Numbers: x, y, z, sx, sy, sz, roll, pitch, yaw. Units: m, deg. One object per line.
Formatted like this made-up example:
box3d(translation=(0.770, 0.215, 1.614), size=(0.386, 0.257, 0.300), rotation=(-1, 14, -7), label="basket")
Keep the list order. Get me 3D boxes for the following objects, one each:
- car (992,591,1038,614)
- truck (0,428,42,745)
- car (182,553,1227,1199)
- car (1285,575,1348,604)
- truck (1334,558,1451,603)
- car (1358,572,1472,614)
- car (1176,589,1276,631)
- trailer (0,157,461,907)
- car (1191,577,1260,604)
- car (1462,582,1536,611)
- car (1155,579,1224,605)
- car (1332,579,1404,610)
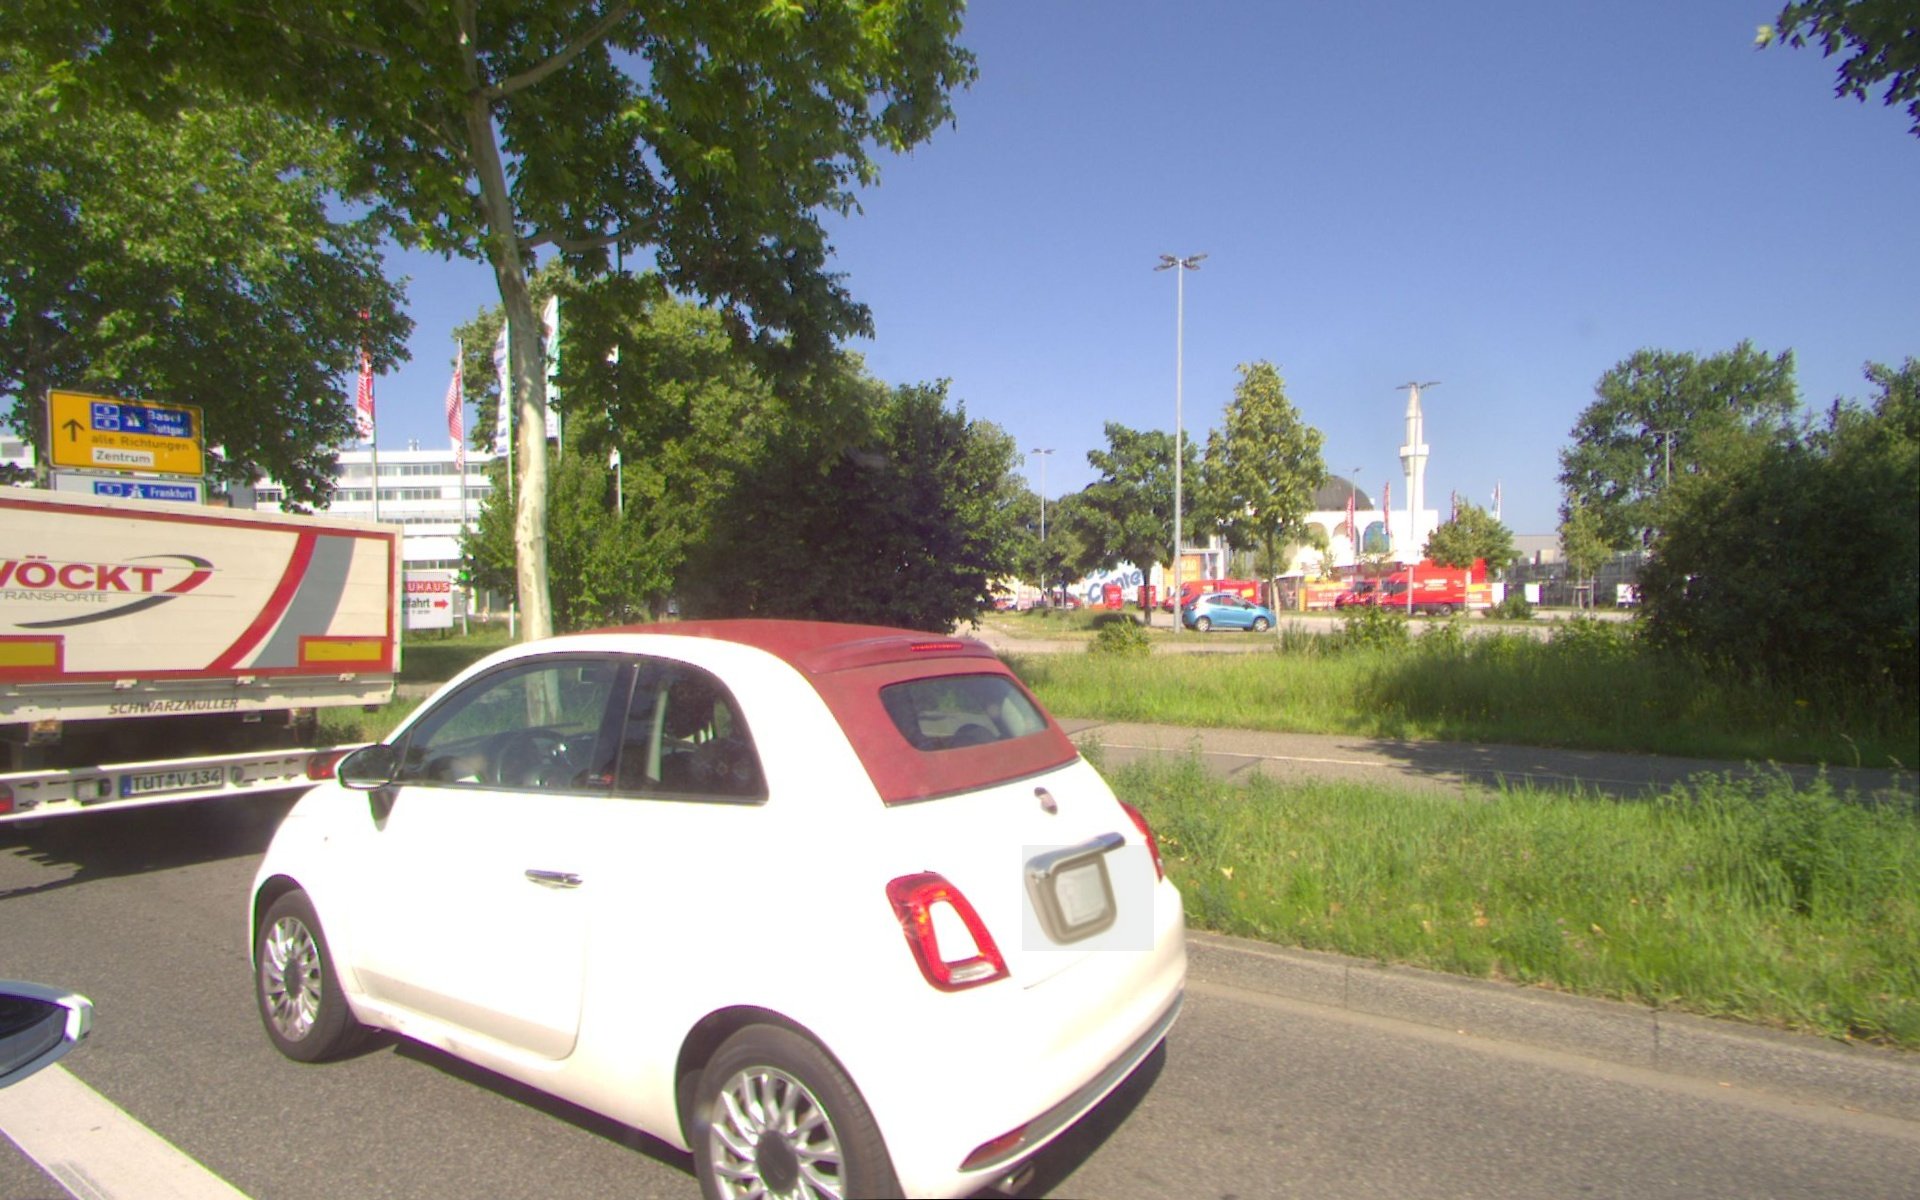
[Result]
box3d(translation=(4.987, 0.239, 91.300), size=(3.923, 2.039, 2.000), rotation=(0, -1, -6), label="car")
box3d(translation=(-15.243, -0.109, 13.027), size=(7.370, 3.806, 3.066), rotation=(-1, -1, 32), label="truck")
box3d(translation=(-1.044, 0.695, 3.477), size=(3.472, 1.455, 1.657), rotation=(-1, -1, 34), label="car")
box3d(translation=(26.190, -0.768, 73.630), size=(3.922, 2.039, 2.001), rotation=(0, -1, 2), label="car")
box3d(translation=(32.942, -1.455, 76.400), size=(8.067, 3.290, 2.000), rotation=(0, -1, -2), label="truck")
box3d(translation=(27.301, -0.398, 60.223), size=(5.823, 2.371, 2.115), rotation=(0, -1, 1), label="car")
box3d(translation=(10.297, 0.396, 38.874), size=(3.387, 1.591, 1.745), rotation=(0, -1, -2), label="car")
box3d(translation=(-9.381, -0.204, 9.165), size=(12.070, 3.789, 3.009), rotation=(-1, -1, 33), label="trailer")
box3d(translation=(20.292, -0.719, 76.691), size=(4.824, 1.906, 1.770), rotation=(0, -1, 2), label="car")
box3d(translation=(38.859, -0.250, 72.250), size=(4.304, 2.039, 2.000), rotation=(0, -1, -3), label="car")
box3d(translation=(18.861, -0.613, 82.331), size=(5.188, 2.039, 2.000), rotation=(0, -1, -4), label="car")
box3d(translation=(26.048, -0.312, 64.082), size=(3.924, 1.884, 1.999), rotation=(-1, -1, 11), label="car")
